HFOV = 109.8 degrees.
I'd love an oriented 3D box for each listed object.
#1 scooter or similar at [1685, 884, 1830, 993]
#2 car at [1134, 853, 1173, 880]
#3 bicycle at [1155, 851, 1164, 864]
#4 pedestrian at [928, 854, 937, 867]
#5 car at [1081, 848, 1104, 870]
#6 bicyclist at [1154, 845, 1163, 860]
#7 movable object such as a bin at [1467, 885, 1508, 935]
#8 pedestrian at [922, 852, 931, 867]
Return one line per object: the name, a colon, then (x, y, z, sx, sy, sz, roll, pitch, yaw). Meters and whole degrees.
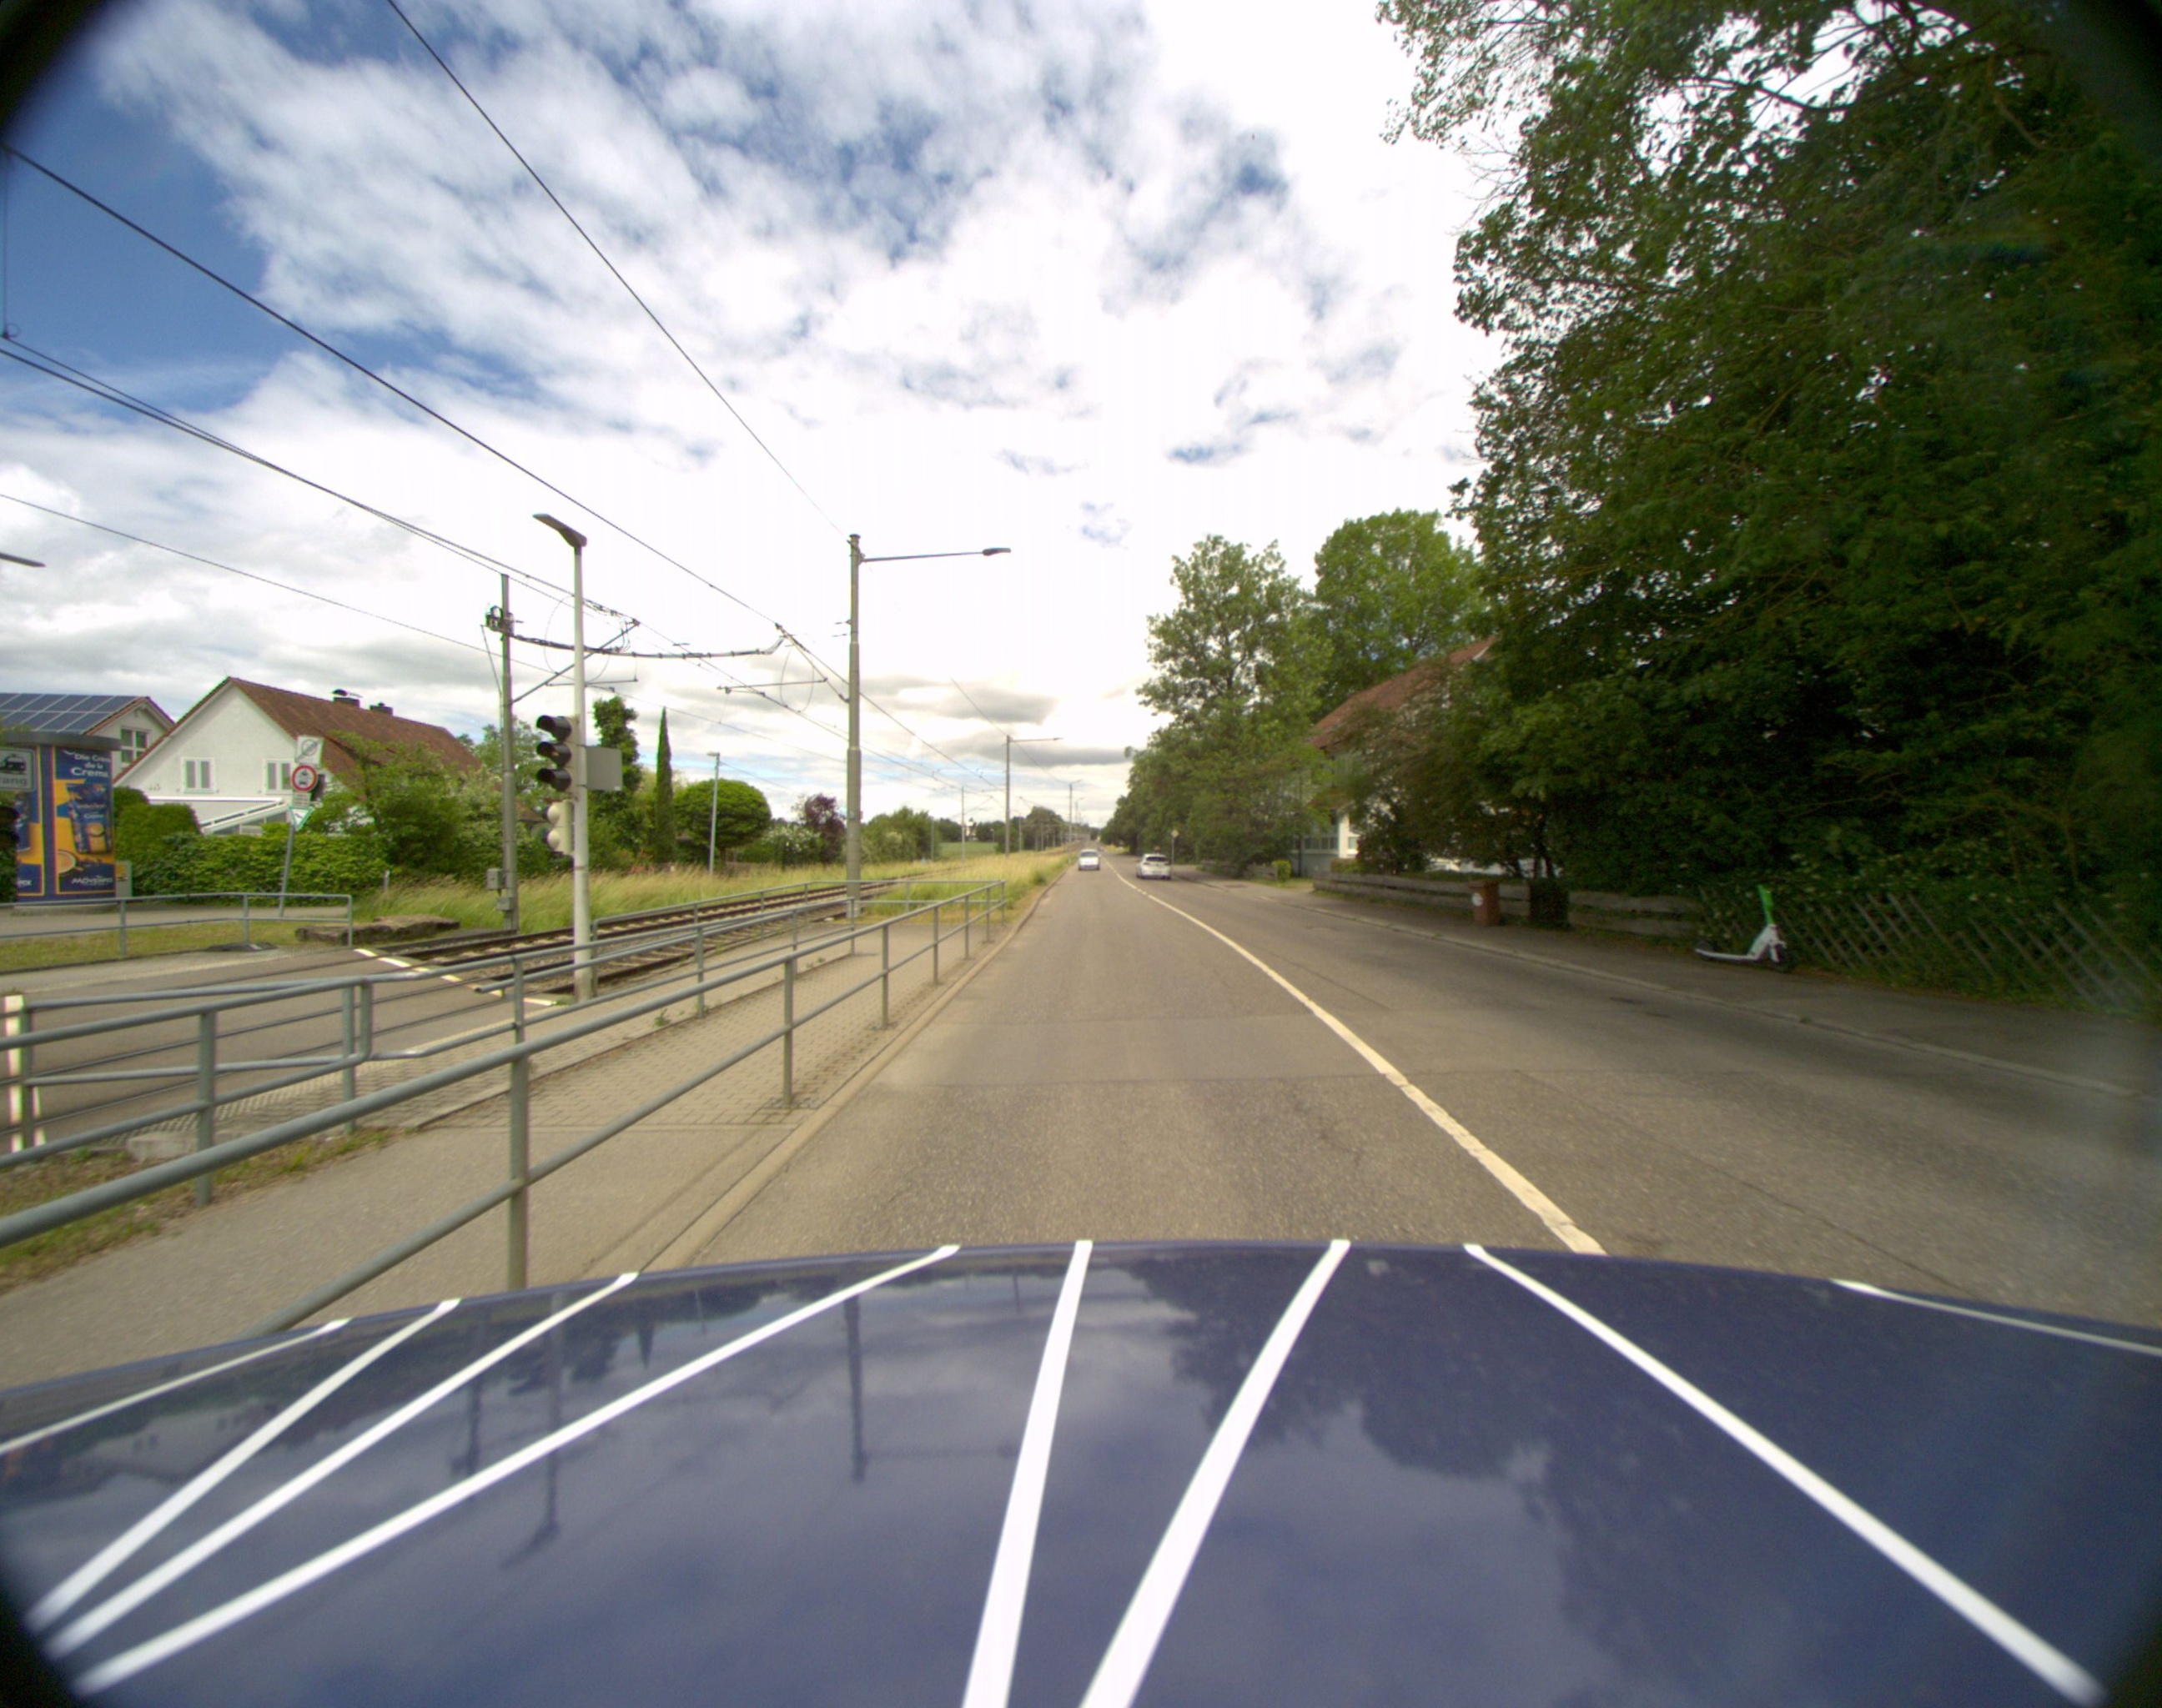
scooter or similar: (8.533, 1.018, 9.673, 0.409, 1.192, 1.639, 0, 1, 2)
car: (4.132, 0.681, 43.745, 1.698, 1.422, 3.785, 2, 1, -3)
bicycle: (7.953, 0.323, 77.116, 0.757, 1.219, 2.308, 2, 1, 1)
pedestrian: (-16.445, 0.742, 84.115, 0.598, 1.422, 0.668, -1, 2, 37)
car: (0.893, 0.336, 58.758, 1.643, 1.510, 3.868, -2, 1, 1)
bicyclist: (7.895, -0.159, 77.269, 0.780, 1.540, 0.870, 0, 1, 1)
movable object such as a bin: (8.075, 1.104, 15.104, 0.515, 0.939, 0.568, -1, 1, 0)
pedestrian: (-17.096, 0.632, 84.022, 0.617, 1.613, 0.585, -1, 2, 40)
